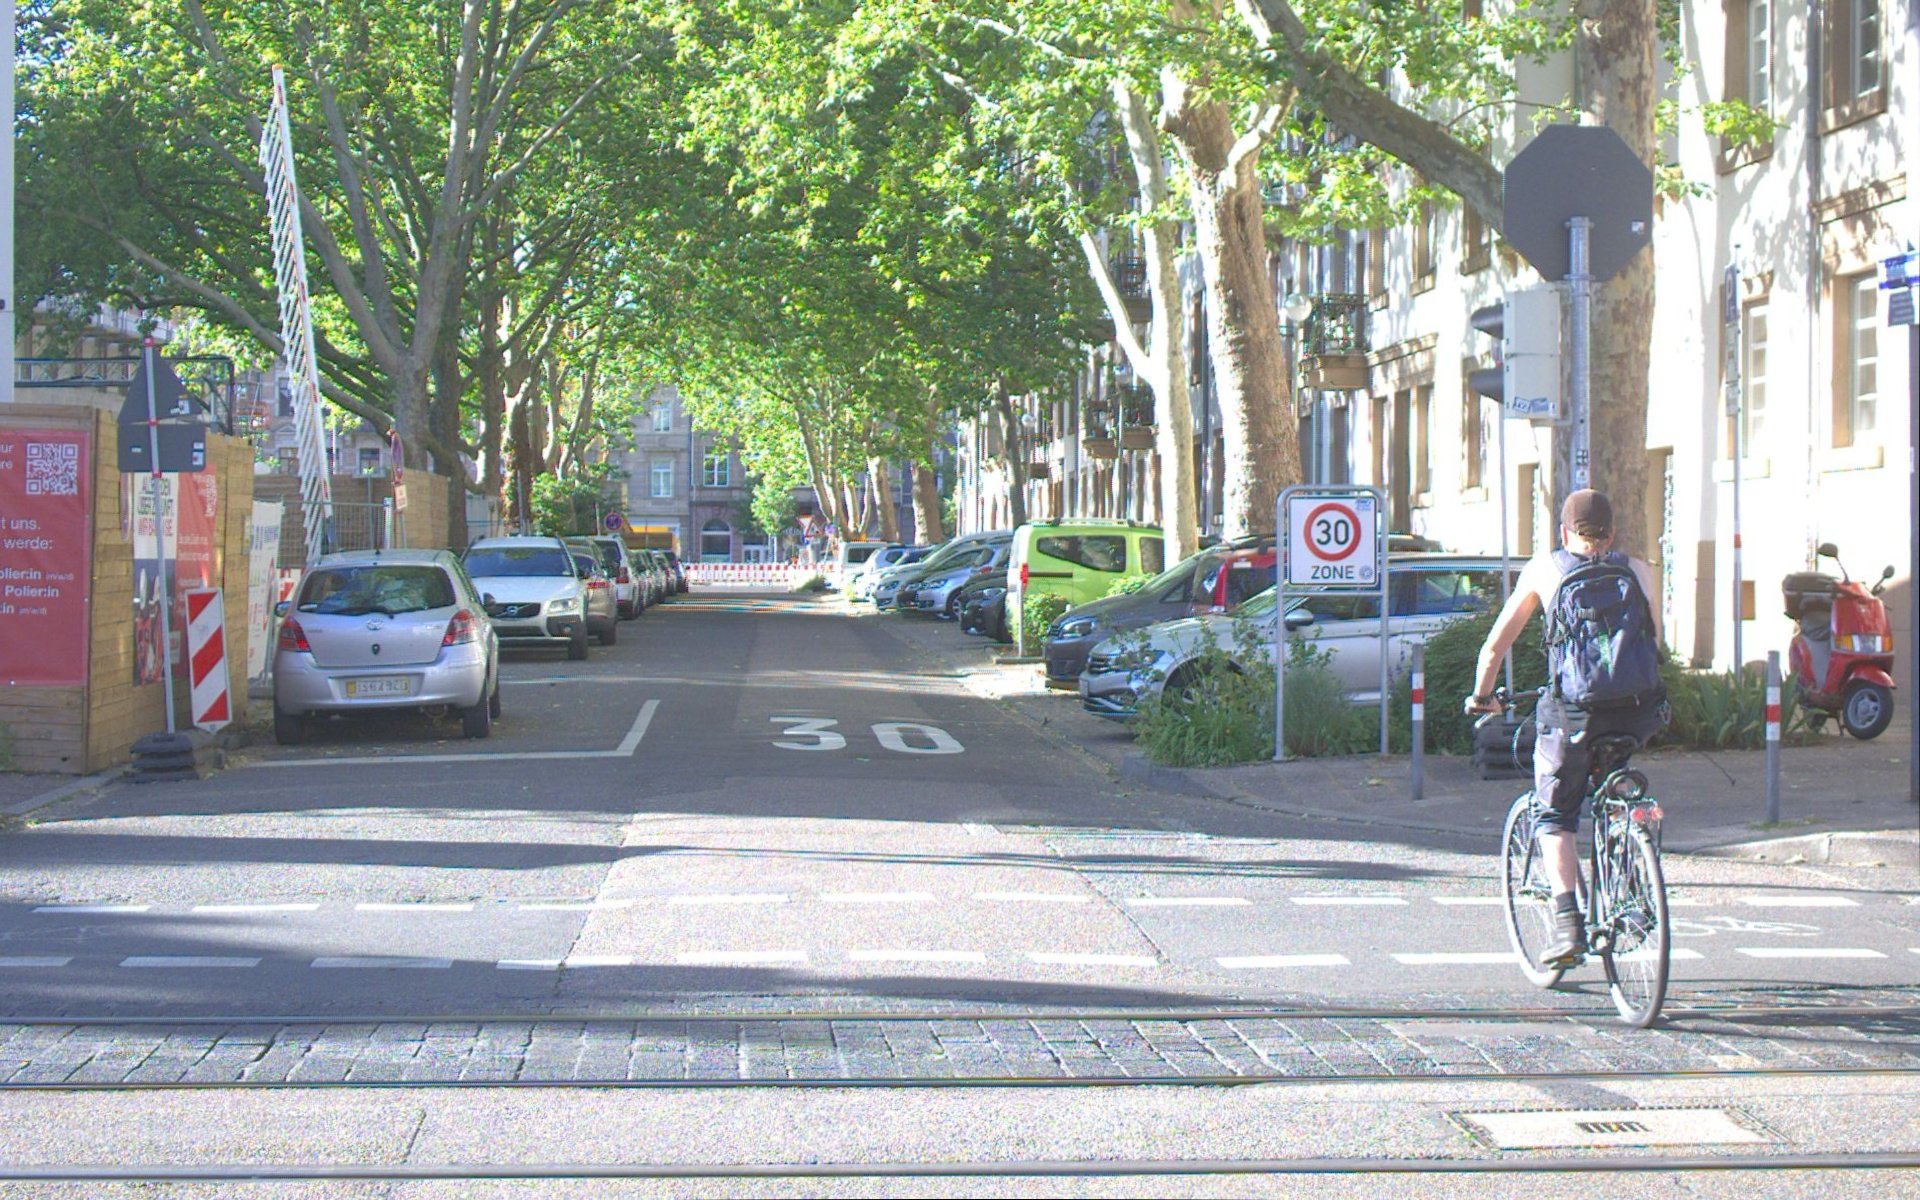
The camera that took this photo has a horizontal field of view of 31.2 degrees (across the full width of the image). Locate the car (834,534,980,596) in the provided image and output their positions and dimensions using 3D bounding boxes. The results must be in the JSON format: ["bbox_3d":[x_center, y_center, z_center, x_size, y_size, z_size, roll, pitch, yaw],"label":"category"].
[{"bbox_3d":[-1.679,-1.104,107.448,4.461,1.891,1.729,0,1,-4],"label":"car"}]

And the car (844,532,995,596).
[{"bbox_3d":[-1.240,-1.100,104.420,4.461,1.891,1.729,0,1,-4],"label":"car"}]

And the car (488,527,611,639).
[{"bbox_3d":[-5.965,-0.280,50.265,1.665,1.557,4.520,0,1,-5],"label":"car"}]

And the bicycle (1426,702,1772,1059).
[{"bbox_3d":[2.129,0.908,11.712,0.689,1.013,1.908,2,1,-3],"label":"bicycle"}]

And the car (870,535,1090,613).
[{"bbox_3d":[0.403,-0.551,71.804,4.461,1.565,1.729,0,1,-4],"label":"car"}]

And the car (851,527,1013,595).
[{"bbox_3d":[-0.811,-1.109,97.000,4.461,1.891,1.729,0,1,-4],"label":"car"}]

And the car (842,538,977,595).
[{"bbox_3d":[-1.724,-1.130,116.591,4.461,1.891,1.729,0,1,-4],"label":"car"}]

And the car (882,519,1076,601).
[{"bbox_3d":[0.435,-0.944,81.458,4.461,1.891,1.729,0,1,-4],"label":"car"}]

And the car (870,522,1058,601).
[{"bbox_3d":[0.078,-0.941,84.211,4.461,1.891,1.729,0,1,-4],"label":"car"}]

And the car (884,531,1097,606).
[{"bbox_3d":[0.636,-0.684,74.139,4.461,1.565,1.729,0,1,-4],"label":"car"}]

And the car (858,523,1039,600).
[{"bbox_3d":[-0.301,-0.982,87.065,4.461,1.891,1.729,0,1,-4],"label":"car"}]

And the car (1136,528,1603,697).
[{"bbox_3d":[4.132,0.114,35.093,4.461,1.665,1.729,0,1,-4],"label":"car"}]

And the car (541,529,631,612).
[{"bbox_3d":[-7.253,-0.591,66.971,1.665,1.557,4.617,0,1,-5],"label":"car"}]

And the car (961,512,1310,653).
[{"bbox_3d":[2.312,-0.242,46.065,4.461,1.830,1.729,0,1,-5],"label":"car"}]

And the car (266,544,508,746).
[{"bbox_3d":[-4.674,0.311,28.468,1.643,1.489,4.001,-2,1,-5],"label":"car"}]

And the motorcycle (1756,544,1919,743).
[{"bbox_3d":[6.138,0.280,24.120,0.513,1.328,1.764,0,1,-6],"label":"motorcycle"}]

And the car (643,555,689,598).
[{"bbox_3d":[-10.916,-0.882,127.585,1.665,1.557,4.220,0,1,-5],"label":"car"}]

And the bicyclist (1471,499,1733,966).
[{"bbox_3d":[2.150,0.430,11.578,0.676,1.508,0.669,2,1,-3],"label":"bicyclist"}]

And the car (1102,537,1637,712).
[{"bbox_3d":[3.589,0.202,30.599,4.461,1.495,1.729,0,1,-4],"label":"car"}]

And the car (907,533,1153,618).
[{"bbox_3d":[1.285,-0.466,64.599,4.461,1.565,1.729,0,1,-4],"label":"car"}]

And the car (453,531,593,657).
[{"bbox_3d":[-5.645,-0.114,44.744,1.665,1.557,4.001,0,1,-5],"label":"car"}]

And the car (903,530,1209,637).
[{"bbox_3d":[1.426,-0.258,51.983,4.461,1.565,1.729,0,1,-4],"label":"car"}]

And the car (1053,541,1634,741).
[{"bbox_3d":[3.074,0.315,28.110,4.461,1.565,1.729,0,1,-4],"label":"car"}]

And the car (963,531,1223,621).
[{"bbox_3d":[2.358,-0.433,61.451,4.461,1.565,1.729,0,1,-4],"label":"car"}]

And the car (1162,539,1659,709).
[{"bbox_3d":[4.275,0.212,33.012,4.461,1.565,1.729,0,1,-4],"label":"car"}]

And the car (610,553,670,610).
[{"bbox_3d":[-9.135,-0.546,98.149,1.665,1.557,4.220,0,1,-5],"label":"car"}]

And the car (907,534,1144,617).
[{"bbox_3d":[1.257,-0.488,67.077,4.461,1.565,1.729,0,1,-4],"label":"car"}]

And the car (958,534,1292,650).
[{"bbox_3d":[2.274,-0.126,48.084,4.461,1.565,1.729,0,1,-4],"label":"car"}]
